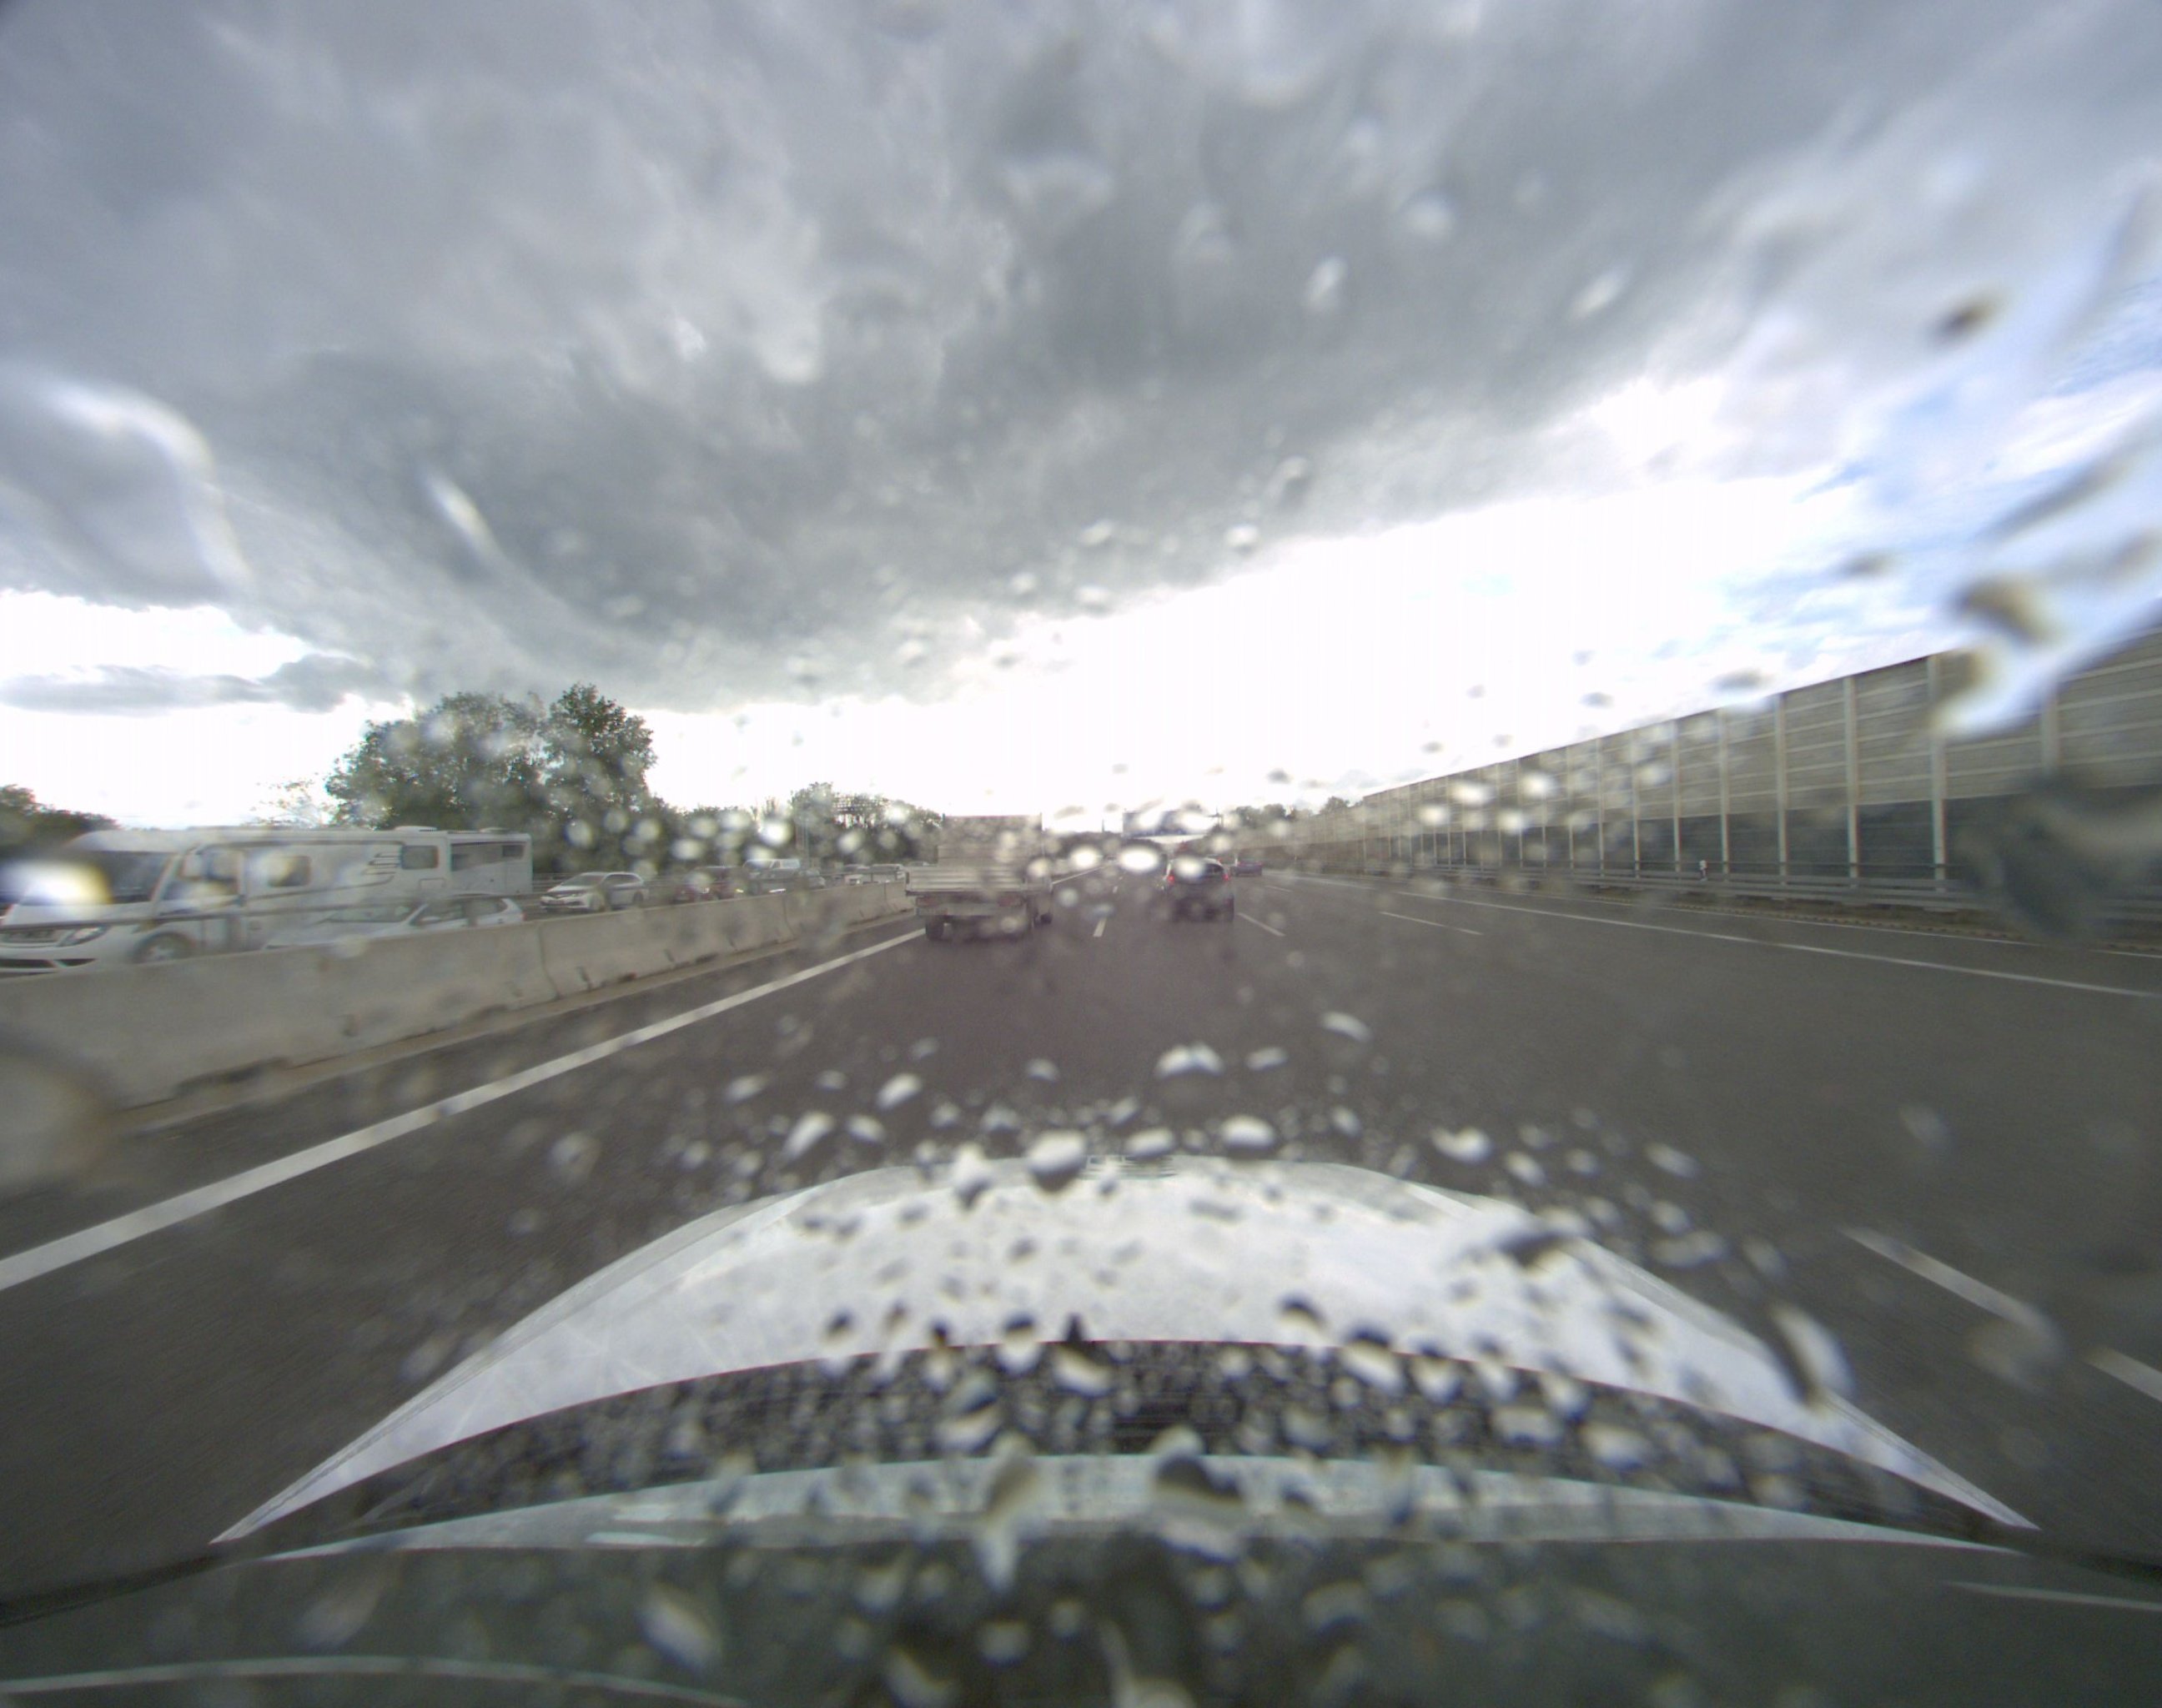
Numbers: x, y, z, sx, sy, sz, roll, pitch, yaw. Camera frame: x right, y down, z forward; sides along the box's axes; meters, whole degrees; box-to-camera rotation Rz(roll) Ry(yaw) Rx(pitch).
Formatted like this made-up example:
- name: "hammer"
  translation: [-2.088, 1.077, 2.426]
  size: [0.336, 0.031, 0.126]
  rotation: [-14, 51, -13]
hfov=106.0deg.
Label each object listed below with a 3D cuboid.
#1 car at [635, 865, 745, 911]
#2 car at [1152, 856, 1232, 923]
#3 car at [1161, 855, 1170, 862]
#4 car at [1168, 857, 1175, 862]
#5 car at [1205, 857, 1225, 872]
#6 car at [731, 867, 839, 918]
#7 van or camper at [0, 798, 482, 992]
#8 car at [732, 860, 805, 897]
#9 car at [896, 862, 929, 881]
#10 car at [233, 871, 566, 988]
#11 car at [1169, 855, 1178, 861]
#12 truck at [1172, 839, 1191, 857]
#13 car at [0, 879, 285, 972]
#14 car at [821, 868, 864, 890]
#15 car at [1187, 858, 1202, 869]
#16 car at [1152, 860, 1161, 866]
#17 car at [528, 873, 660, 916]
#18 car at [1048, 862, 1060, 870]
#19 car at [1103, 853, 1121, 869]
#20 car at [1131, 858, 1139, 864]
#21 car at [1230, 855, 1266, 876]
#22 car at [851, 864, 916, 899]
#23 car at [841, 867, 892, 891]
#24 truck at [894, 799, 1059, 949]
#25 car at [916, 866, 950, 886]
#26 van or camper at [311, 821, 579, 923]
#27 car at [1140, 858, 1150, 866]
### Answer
- name: "car"
  translation: [-14.917, 1.244, 31.377]
  size: [1.715, 1.646, 4.524]
  rotation: [0, -1, 5]
- name: "car"
  translation: [2.627, 0.787, 20.050]
  size: [1.709, 1.417, 4.284]
  rotation: [-1, 0, 5]
- name: "car"
  translation: [19.259, 1.039, 185.716]
  size: [1.960, 1.561, 4.435]
  rotation: [-2, -1, 2]
- name: "car"
  translation: [27.850, 1.769, 250.836]
  size: [1.960, 1.561, 4.435]
  rotation: [-2, -1, 2]
- name: "car"
  translation: [15.444, 1.209, 94.112]
  size: [1.874, 1.542, 4.437]
  rotation: [-2, -1, 4]
- name: "car"
  translation: [-10.651, 1.318, 29.718]
  size: [1.715, 1.646, 5.068]
  rotation: [0, -1, 5]
- name: "van or camper"
  translation: [-16.113, 0.658, 16.176]
  size: [2.614, 2.951, 7.365]
  rotation: [0, -1, 3]
- name: "car"
  translation: [-17.320, 1.322, 45.509]
  size: [1.681, 1.936, 5.552]
  rotation: [0, -1, 3]
- name: "car"
  translation: [-15.630, 1.601, 75.720]
  size: [1.715, 1.646, 4.524]
  rotation: [0, -1, 5]
- name: "car"
  translation: [-11.299, 1.135, 14.045]
  size: [1.715, 1.646, 4.523]
  rotation: [0, -1, 4]
- name: "car"
  translation: [25.738, 1.165, 226.819]
  size: [1.960, 1.561, 4.435]
  rotation: [-2, -1, 2]
- name: "truck"
  translation: [21.098, -1.174, 171.243]
  size: [3.140, 3.601, 12.708]
  rotation: [0, 0, 3]
- name: "car"
  translation: [-19.941, 1.347, 16.799]
  size: [1.839, 1.547, 5.025]
  rotation: [0, -1, 5]
- name: "car"
  translation: [-16.967, 1.783, 58.177]
  size: [1.716, 1.478, 3.963]
  rotation: [0, -1, 3]
- name: "car"
  translation: [17.685, 1.473, 127.316]
  size: [1.875, 1.561, 4.436]
  rotation: [-2, -1, 3]
- name: "car"
  translation: [19.346, 2.277, 207.969]
  size: [1.961, 1.561, 4.434]
  rotation: [-2, -1, 1]
- name: "car"
  translation: [-18.539, 1.485, 31.326]
  size: [1.715, 1.456, 5.025]
  rotation: [0, -1, 5]
- name: "car"
  translation: [-5.303, 2.385, 160.093]
  size: [1.715, 1.603, 4.650]
  rotation: [0, -1, 5]
- name: "car"
  translation: [3.322, 0.691, 87.694]
  size: [1.709, 1.624, 4.284]
  rotation: [-1, 1, 5]
- name: "car"
  translation: [13.685, 1.823, 206.431]
  size: [1.960, 1.561, 4.436]
  rotation: [-2, -1, 3]
- name: "car"
  translation: [11.801, 0.806, 57.751]
  size: [1.941, 1.418, 4.236]
  rotation: [-1, -1, 3]
- name: "car"
  translation: [-10.060, 1.350, 41.815]
  size: [1.715, 1.646, 5.068]
  rotation: [0, -1, 5]
- name: "car"
  translation: [-13.640, 1.546, 52.052]
  size: [1.715, 1.415, 4.524]
  rotation: [0, -1, 5]
- name: "truck"
  translation: [-1.817, 0.306, 16.960]
  size: [2.298, 2.439, 7.151]
  rotation: [-1, 0, 2]
- name: "car"
  translation: [-12.712, 1.906, 70.243]
  size: [1.715, 1.646, 4.524]
  rotation: [0, -1, 5]
- name: "van or camper"
  translation: [-22.252, 0.596, 29.391]
  size: [2.614, 3.123, 8.483]
  rotation: [0, -1, 3]
- name: "car"
  translation: [12.930, 1.573, 164.773]
  size: [1.960, 1.561, 4.436]
  rotation: [-2, -1, 3]
